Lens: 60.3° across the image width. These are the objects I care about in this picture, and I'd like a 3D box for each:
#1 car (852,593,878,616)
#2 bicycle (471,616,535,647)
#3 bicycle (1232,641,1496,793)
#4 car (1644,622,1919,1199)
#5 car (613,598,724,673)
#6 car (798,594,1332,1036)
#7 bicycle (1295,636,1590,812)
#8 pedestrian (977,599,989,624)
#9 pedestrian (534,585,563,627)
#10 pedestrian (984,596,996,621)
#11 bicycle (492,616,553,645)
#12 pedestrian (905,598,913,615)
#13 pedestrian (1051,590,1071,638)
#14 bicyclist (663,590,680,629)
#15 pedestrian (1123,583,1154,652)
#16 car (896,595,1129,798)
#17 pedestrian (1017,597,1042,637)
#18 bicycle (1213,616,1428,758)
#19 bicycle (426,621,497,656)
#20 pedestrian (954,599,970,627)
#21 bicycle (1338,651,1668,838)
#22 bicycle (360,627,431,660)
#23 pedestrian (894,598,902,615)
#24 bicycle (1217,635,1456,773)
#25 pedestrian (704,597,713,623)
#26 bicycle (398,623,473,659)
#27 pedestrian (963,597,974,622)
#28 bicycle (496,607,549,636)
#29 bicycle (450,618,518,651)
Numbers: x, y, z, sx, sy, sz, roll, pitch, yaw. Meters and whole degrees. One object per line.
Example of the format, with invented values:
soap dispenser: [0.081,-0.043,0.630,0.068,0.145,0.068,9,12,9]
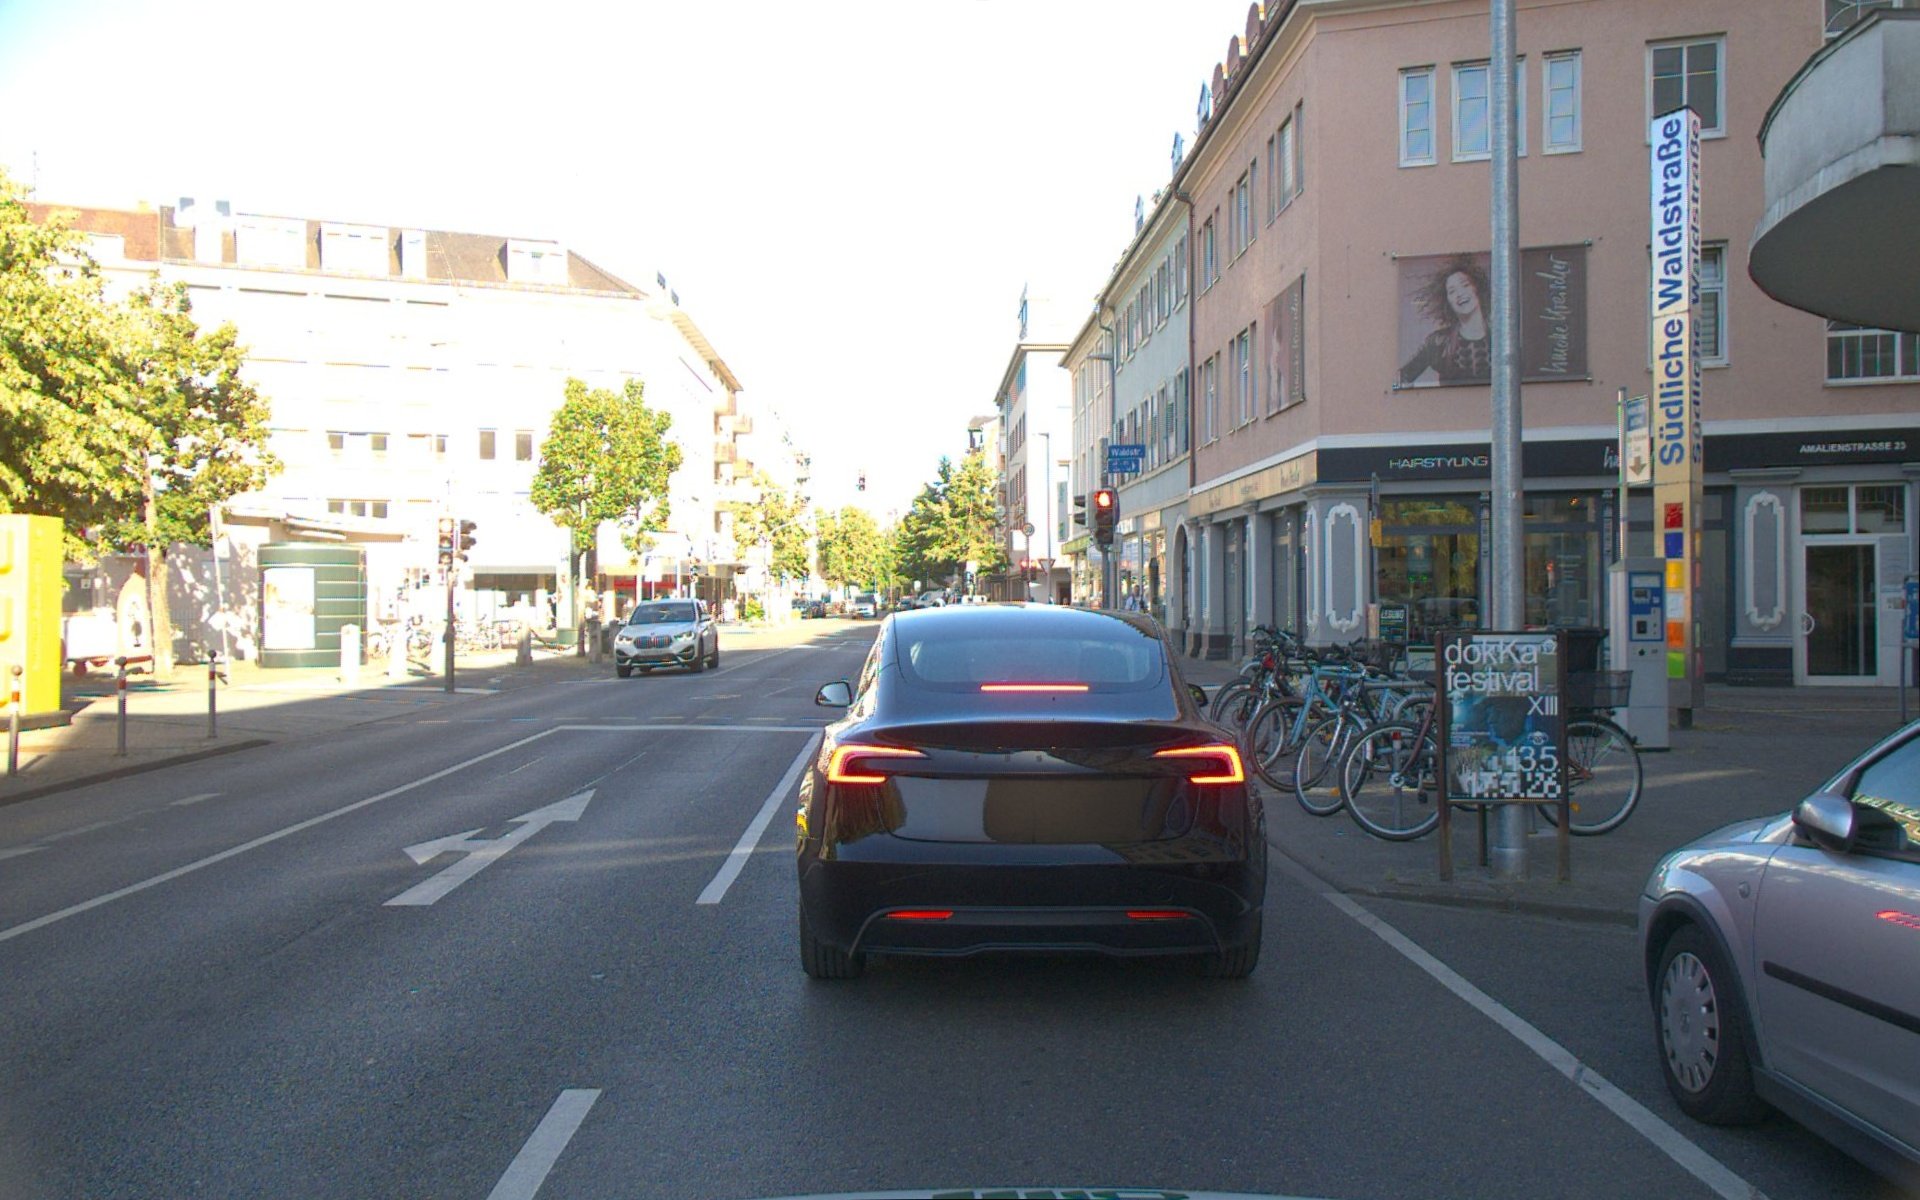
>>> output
car: [-7.040,0.338,122.978,1.751,1.675,4.401,1,0,-1]
bicycle: [-14.333,0.990,51.904,1.826,0.950,0.606,0,0,-2]
bicycle: [3.020,0.869,12.455,1.834,1.056,0.533,-2,-1,3]
car: [2.916,0.774,3.493,1.515,1.415,3.476,0,0,0]
car: [-6.293,0.745,36.067,1.752,1.485,3.756,-2,0,-1]
car: [0.326,0.726,7.524,1.785,1.467,3.999,0,0,-1]
bicycle: [3.238,0.833,11.184,1.834,1.106,0.414,-2,-1,3]
pedestrian: [1.311,0.655,95.289,0.516,1.447,0.474,1,-1,-31]
pedestrian: [-20.157,0.308,81.008,1.044,2.049,1.047,1,-1,-36]
pedestrian: [1.729,0.506,95.844,0.516,1.447,0.474,1,-1,-31]
bicycle: [-14.369,0.999,54.352,1.826,0.950,0.606,0,0,-2]
pedestrian: [-6.257,0.820,201.843,0.912,2.049,0.938,1,-1,-1]
pedestrian: [3.757,0.521,61.289,0.692,1.773,0.540,0,0,-1]
bicyclist: [-11.505,0.390,65.958,0.516,1.530,0.472,1,-1,-27]
pedestrian: [4.730,0.454,43.912,0.735,1.796,0.837,2,0,3]
car: [0.307,0.690,13.827,1.683,1.450,3.755,0,0,-2]
pedestrian: [2.928,0.723,69.303,0.742,1.660,0.951,1,-1,-18]
bicycle: [3.197,0.772,14.782,1.789,1.189,0.506,-2,-1,5]
bicycle: [-14.186,1.085,47.098,1.826,0.950,0.606,1,0,-2]
pedestrian: [0.119,0.820,103.782,0.708,1.725,0.843,0,0,-28]
bicycle: [3.266,0.870,10.026,1.833,1.056,0.353,-2,-1,6]
bicycle: [-14.455,1.112,42.390,1.612,0.806,0.606,1,0,-5]
pedestrian: [-7.519,0.799,201.911,0.912,2.049,0.938,1,-1,-1]
bicycle: [3.087,0.853,13.657,1.833,1.056,0.548,-2,-1,5]
pedestrian: [-14.228,0.549,93.507,0.451,1.486,0.517,0,0,-6]
bicycle: [-14.217,1.105,44.842,1.826,0.950,0.606,0,0,-2]
pedestrian: [0.503,0.560,95.714,0.467,1.442,0.516,0,0,-32]
bicycle: [-20.527,1.021,77.539,2.334,1.318,0.509,1,-1,-27]
bicycle: [-14.251,1.019,49.558,1.826,0.950,0.606,1,0,-2]
